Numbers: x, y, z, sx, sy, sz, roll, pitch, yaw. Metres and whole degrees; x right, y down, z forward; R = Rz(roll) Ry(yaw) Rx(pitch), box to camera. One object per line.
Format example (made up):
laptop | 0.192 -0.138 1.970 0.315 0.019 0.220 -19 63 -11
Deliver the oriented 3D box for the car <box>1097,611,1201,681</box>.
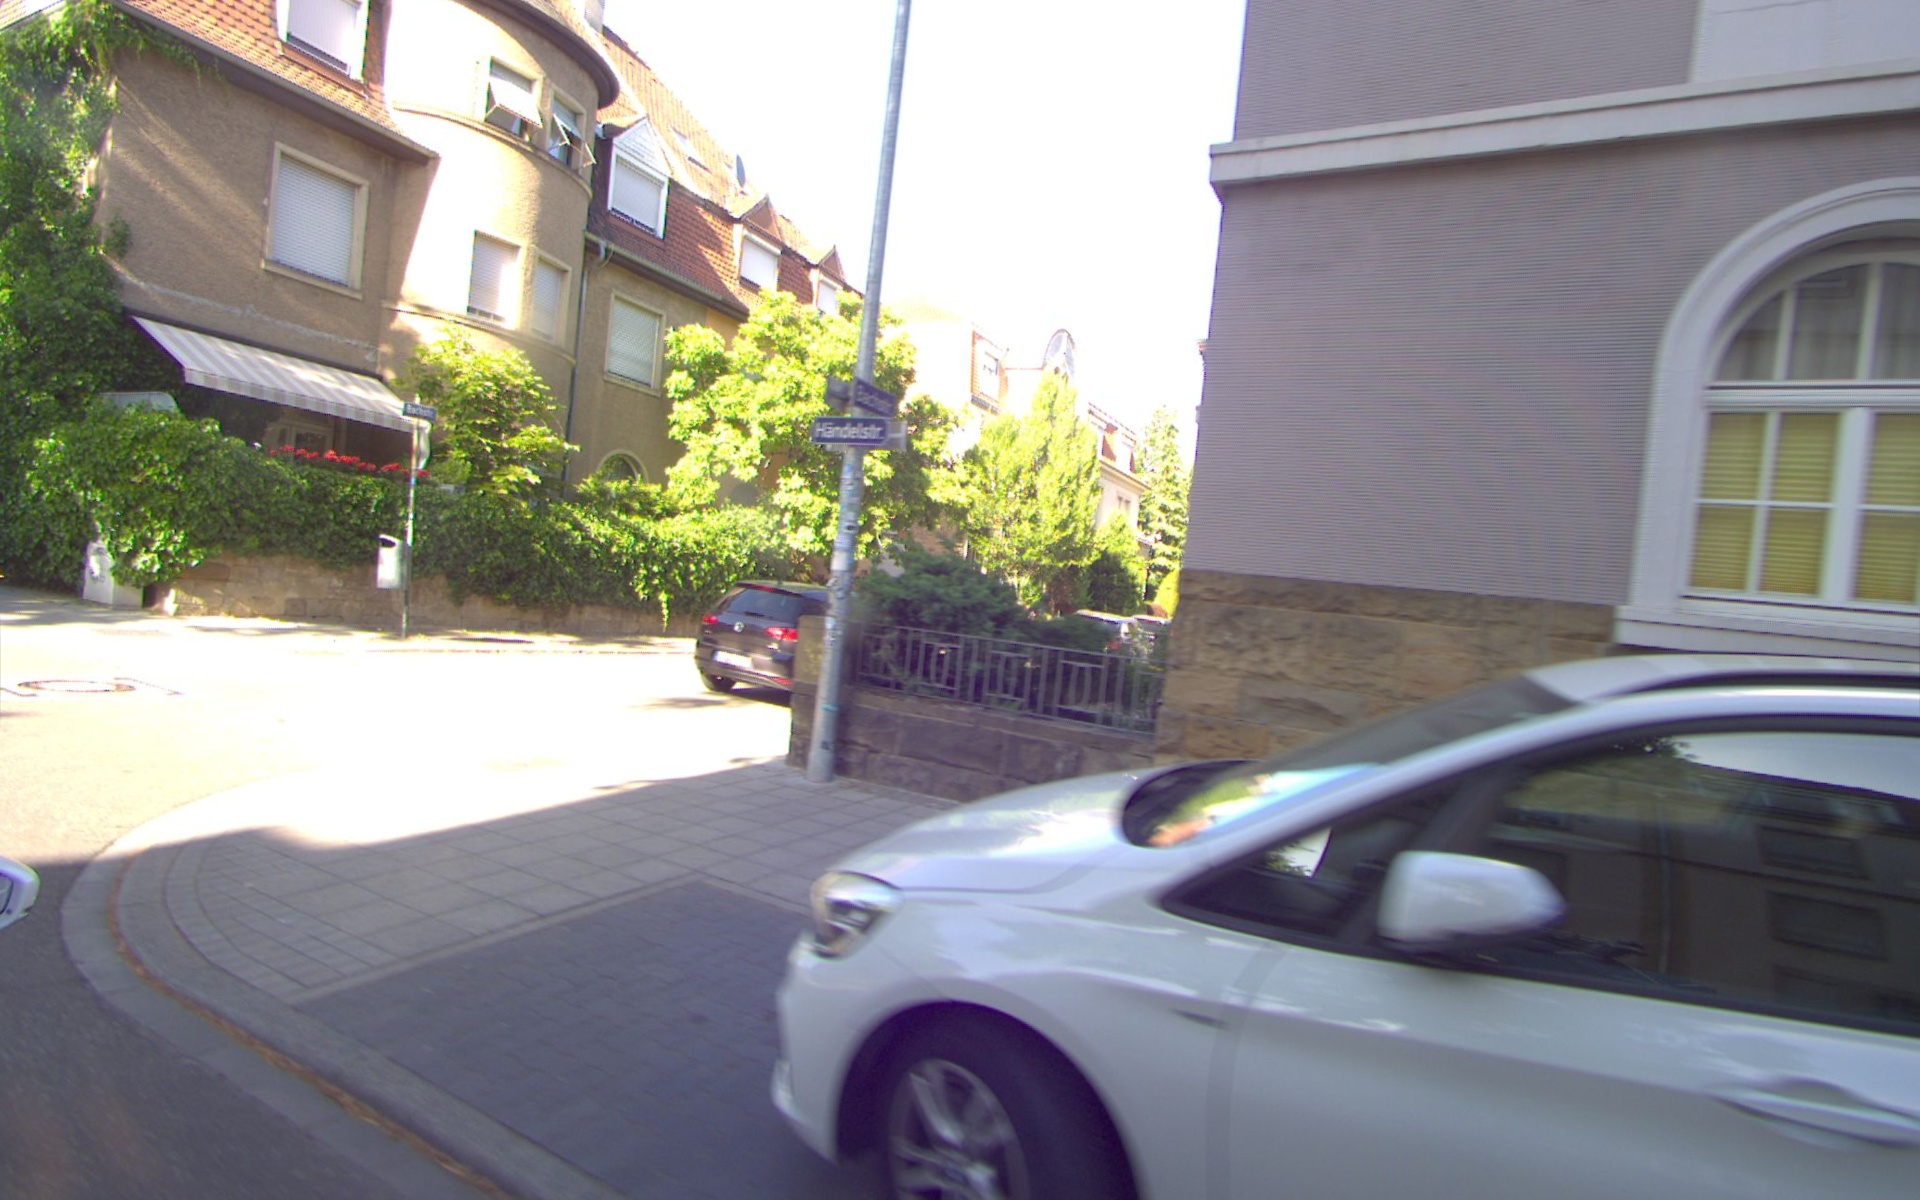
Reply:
car | 5.390 1.300 28.318 1.672 1.607 3.994 8 1 27

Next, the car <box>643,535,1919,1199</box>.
car | 1.471 0.826 2.224 4.083 1.560 1.700 6 3 28

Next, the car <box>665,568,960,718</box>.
car | -1.752 0.574 13.297 1.724 1.464 3.995 9 1 27

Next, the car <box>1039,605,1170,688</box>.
car | 3.490 1.100 23.686 1.672 1.554 3.994 9 1 27
